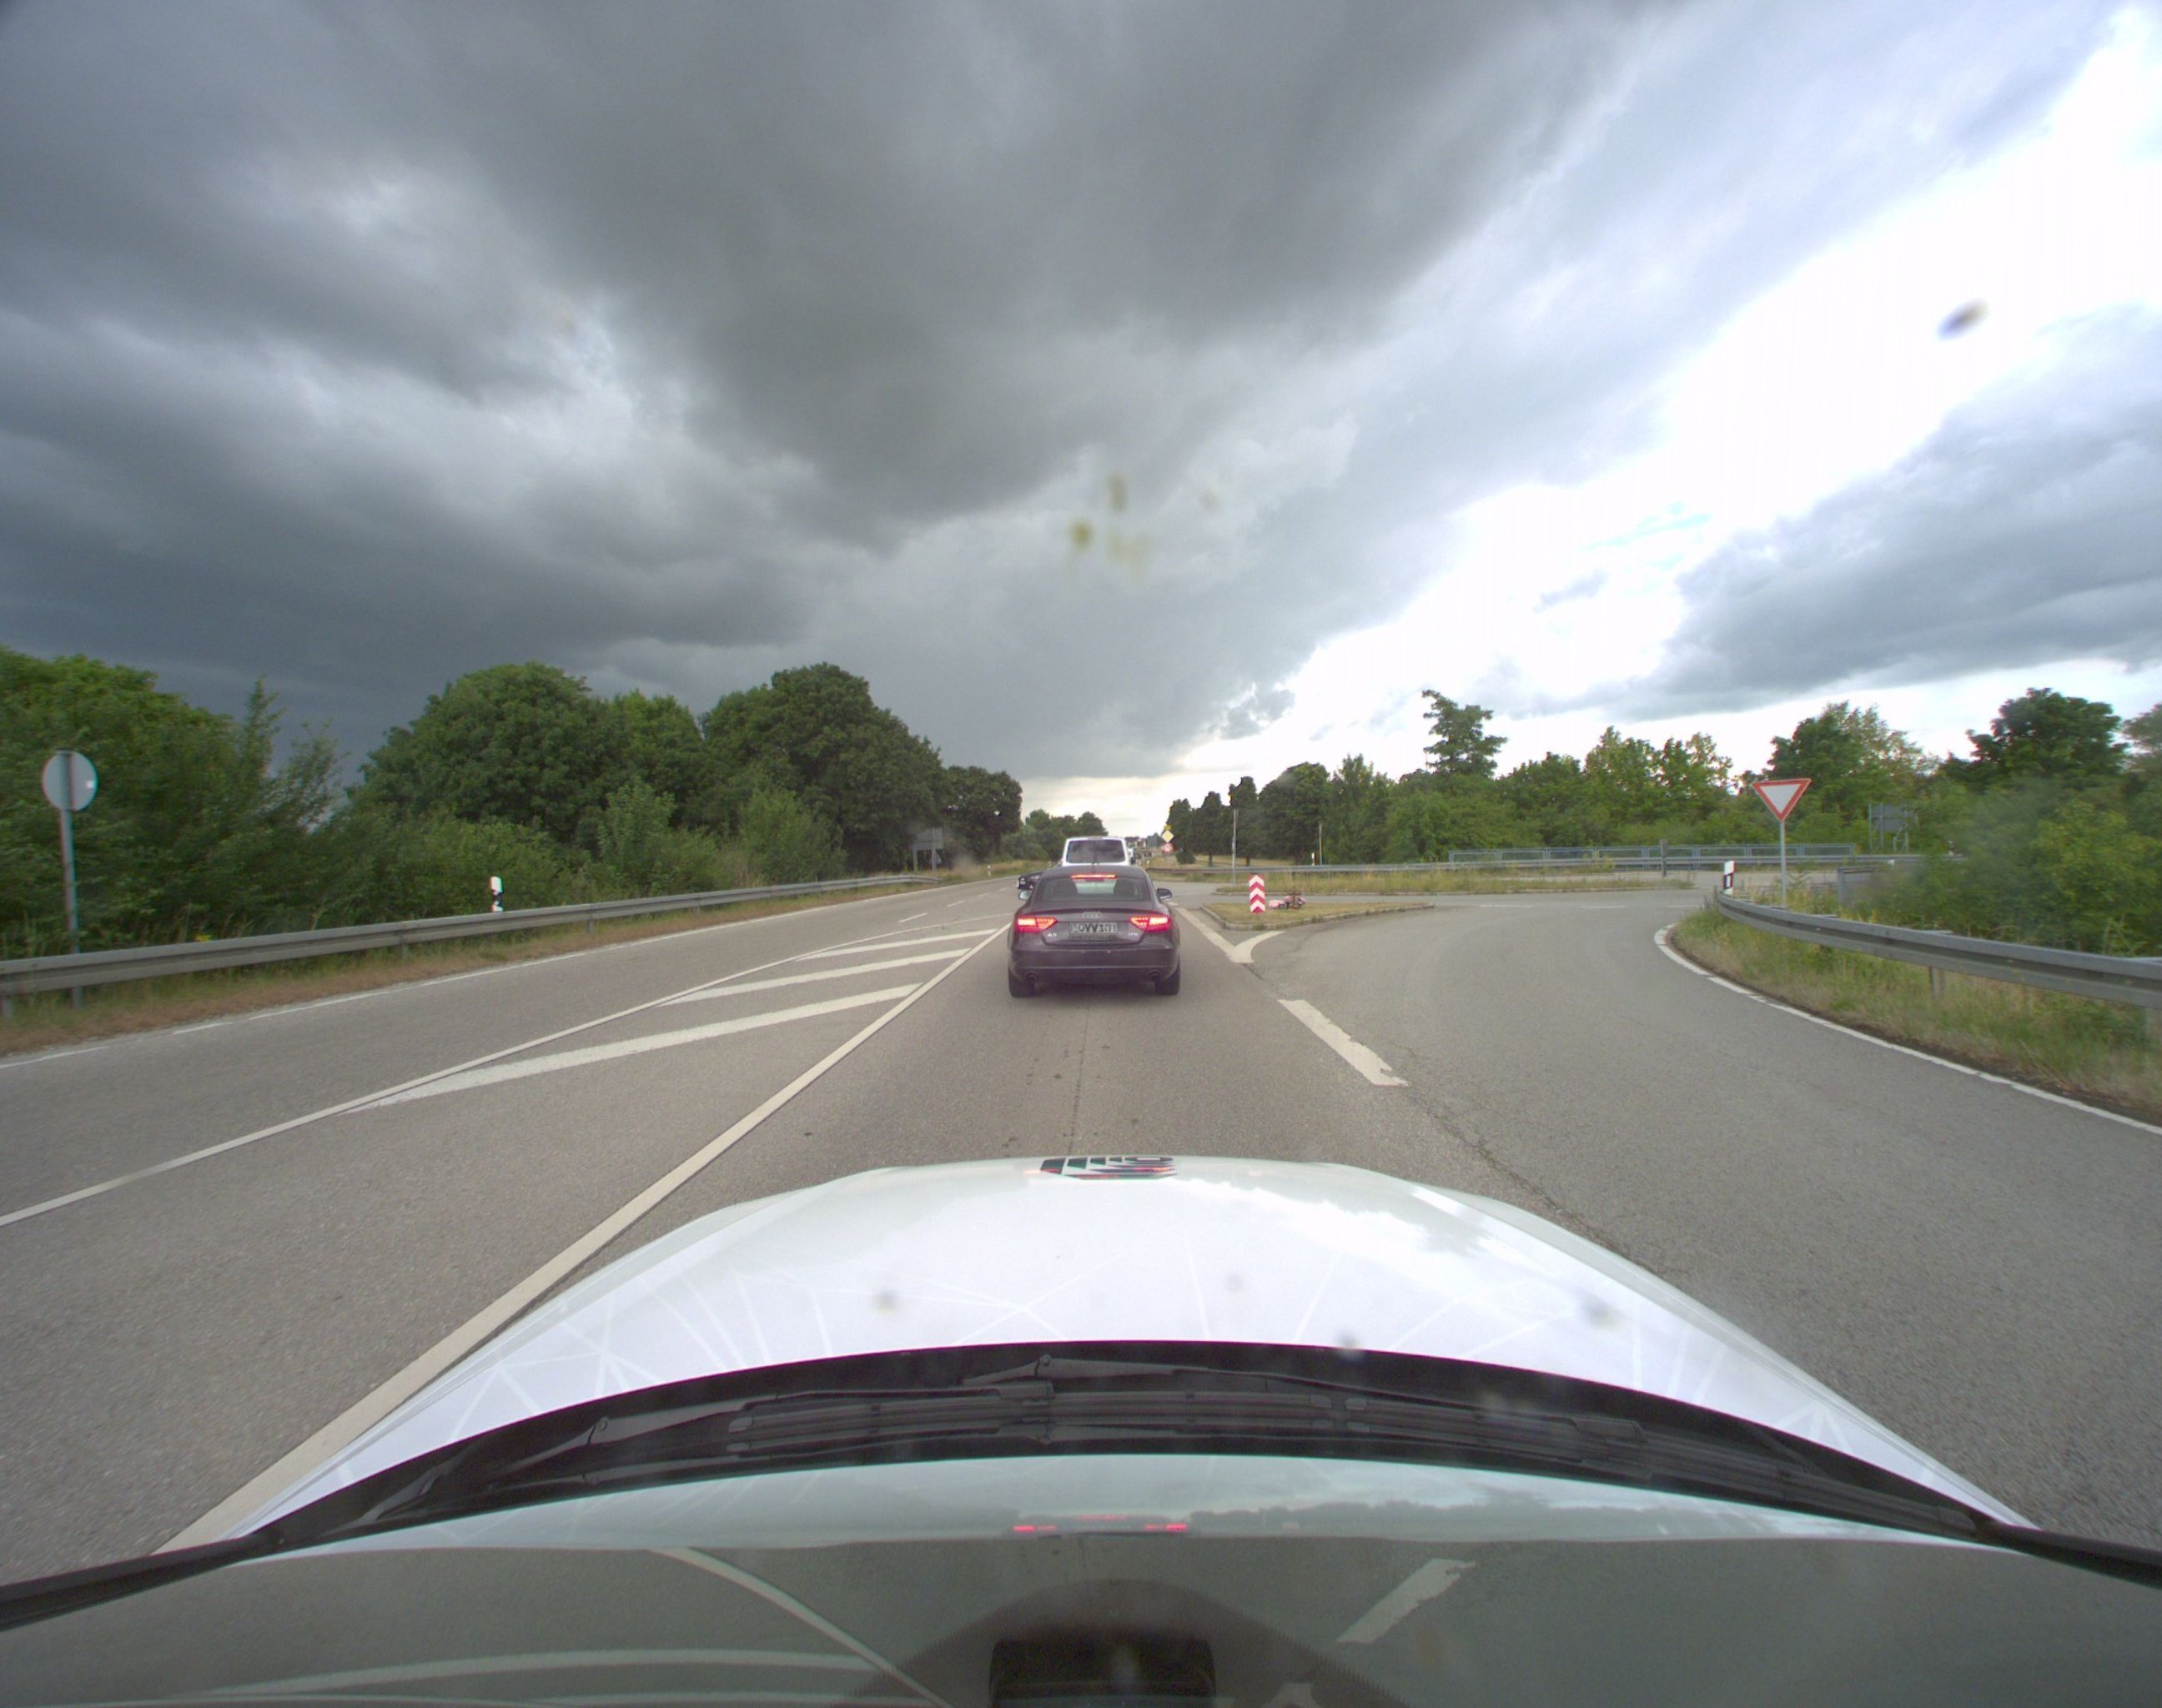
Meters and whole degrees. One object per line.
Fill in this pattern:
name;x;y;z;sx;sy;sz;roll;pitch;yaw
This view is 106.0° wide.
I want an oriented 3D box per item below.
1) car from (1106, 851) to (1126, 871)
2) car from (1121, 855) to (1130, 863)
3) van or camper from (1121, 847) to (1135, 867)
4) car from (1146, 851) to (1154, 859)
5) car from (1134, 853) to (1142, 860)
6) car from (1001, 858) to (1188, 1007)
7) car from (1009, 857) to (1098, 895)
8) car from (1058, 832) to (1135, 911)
car;3.899;0.744;90.013;1.984;2.088;4.005;-1;0;5
car;7.138;0.791;130.710;1.251;1.353;3.473;-1;0;8
van or camper;8.505;0.590;147.284;2.330;3.481;5.724;-1;0;4
car;17.632;0.333;208.102;1.986;2.013;4.001;-1;0;1
car;12.601;0.515;180.848;1.712;1.451;4.003;0;0;3
car;0.189;0.760;9.785;1.776;1.376;4.002;-1;0;2
car;-1.018;0.862;32.954;1.804;1.374;4.636;-1;0;23
car;0.446;0.414;21.562;1.832;1.882;4.002;-1;0;2
